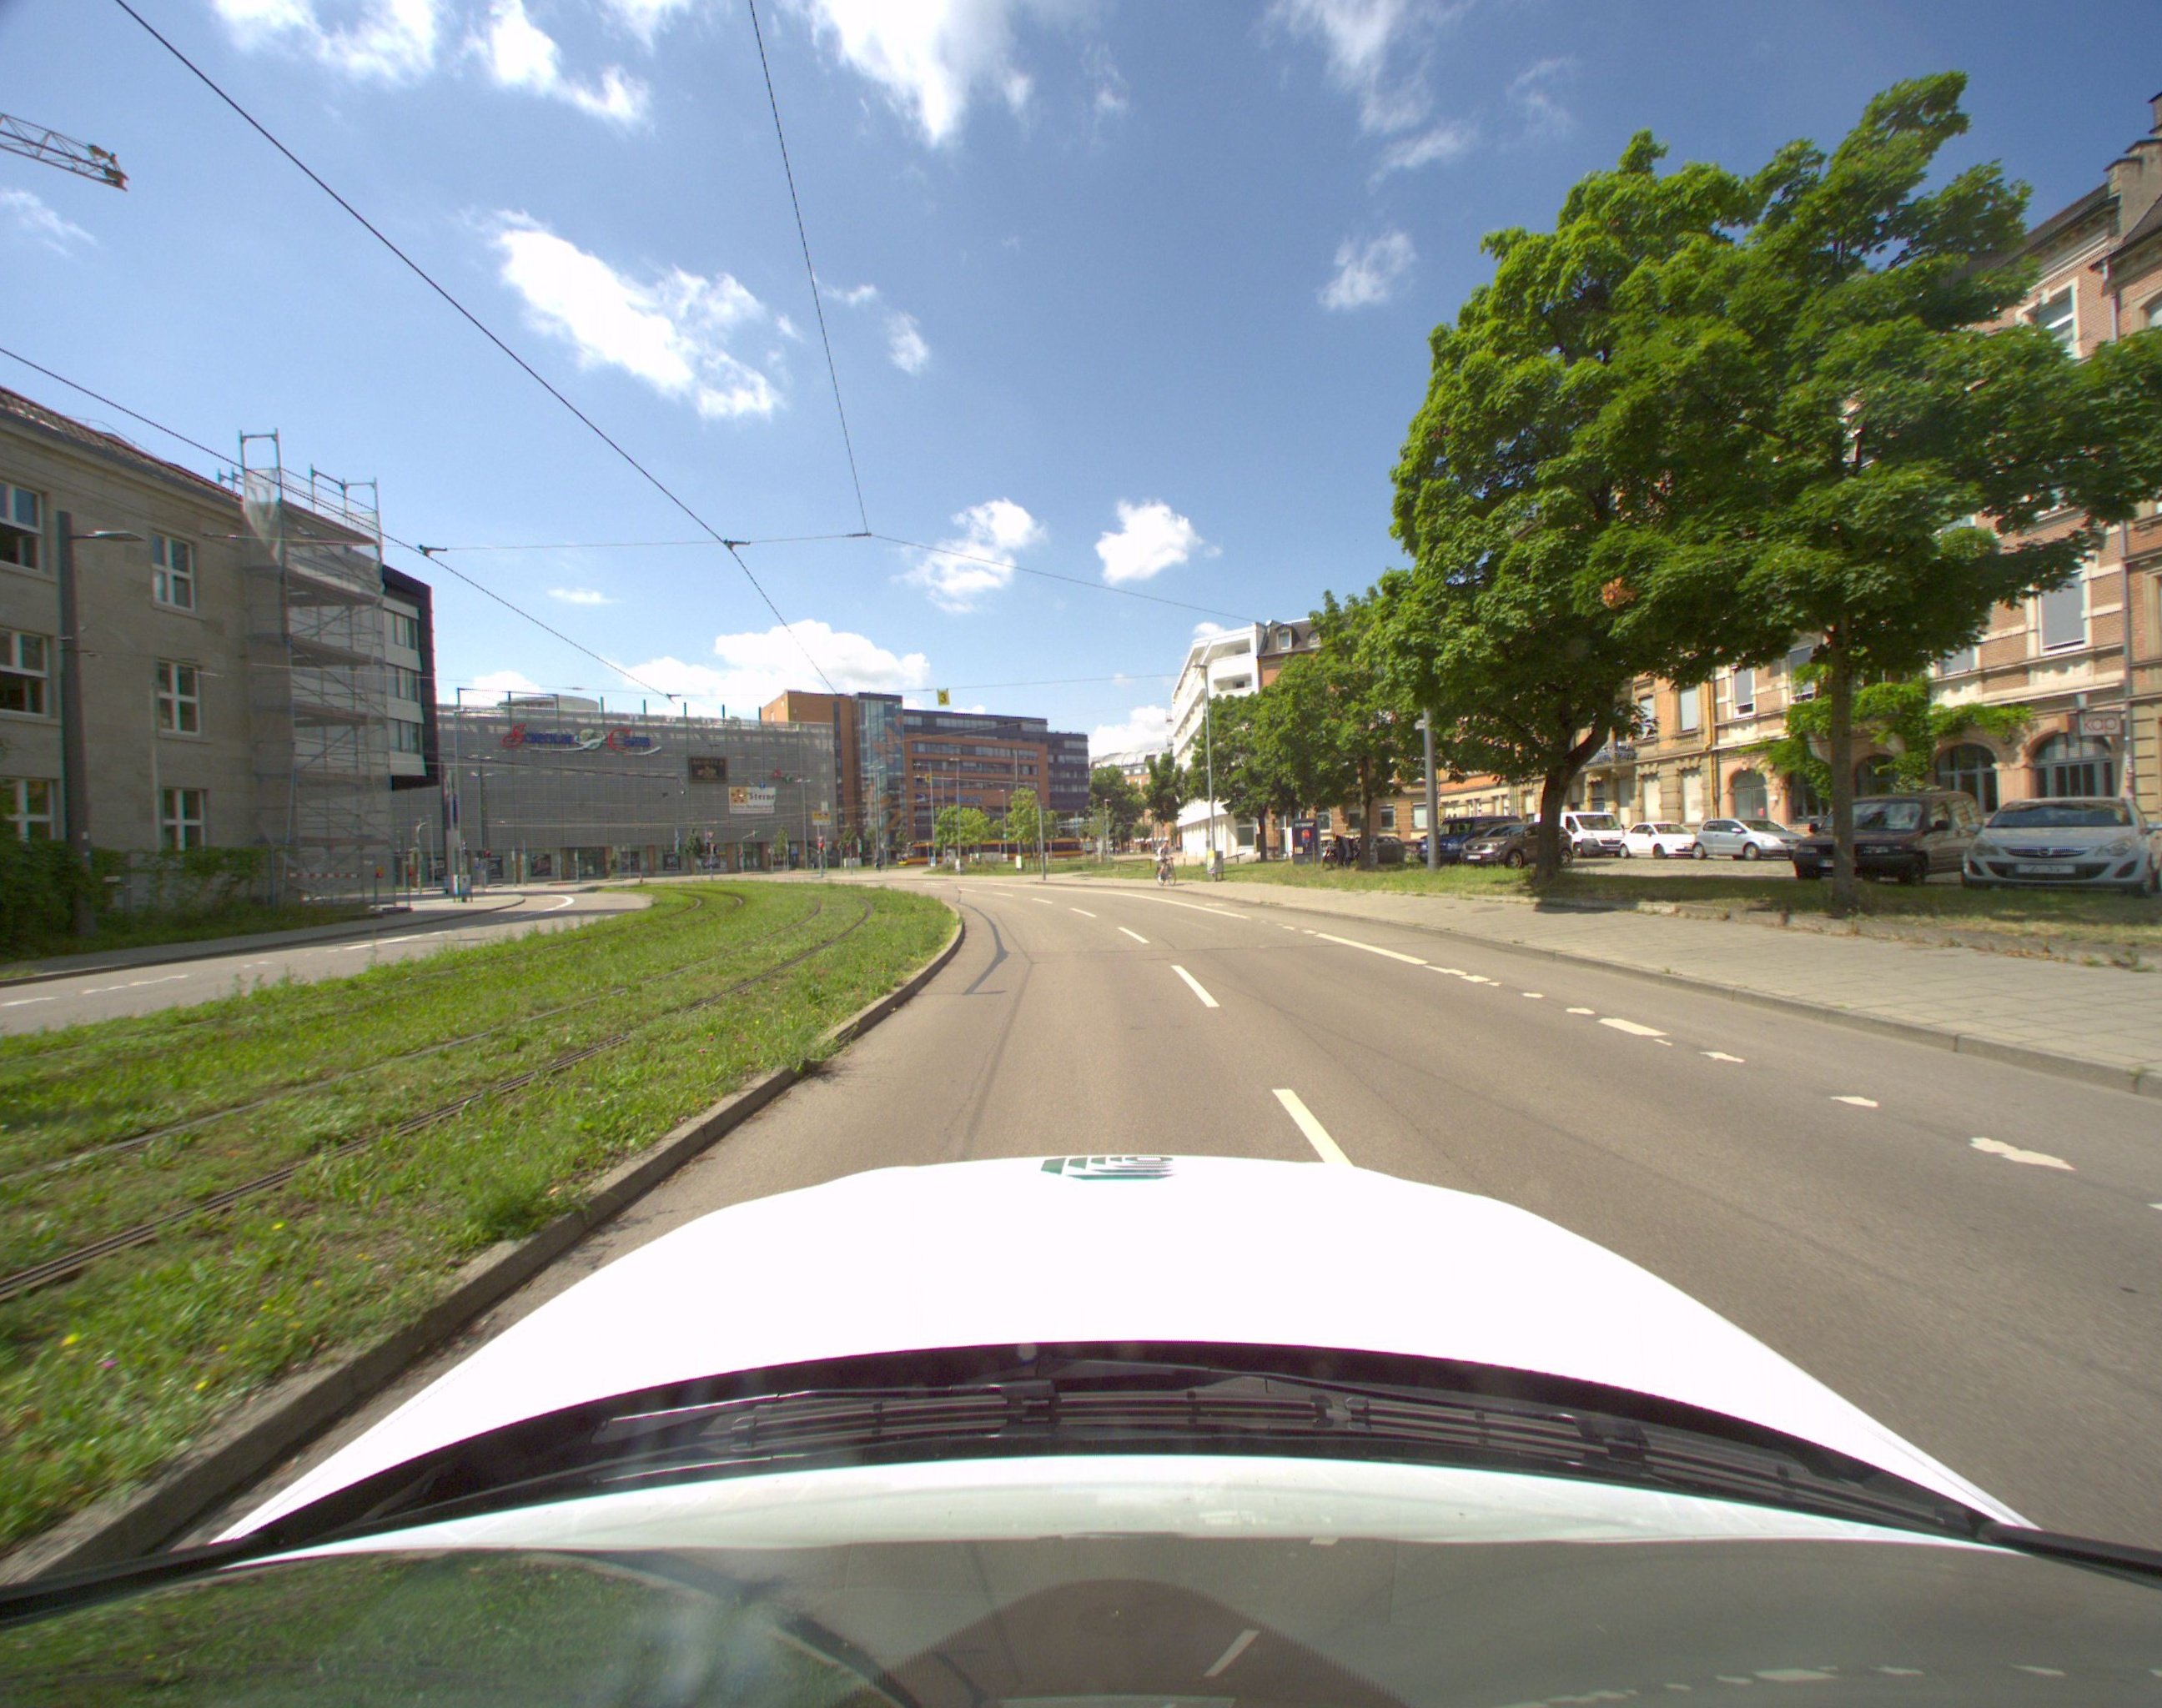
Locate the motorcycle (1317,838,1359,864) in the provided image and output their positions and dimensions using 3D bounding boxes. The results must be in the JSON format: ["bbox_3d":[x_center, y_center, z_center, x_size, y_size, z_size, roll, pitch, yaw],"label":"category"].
[{"bbox_3d":[12.469,-0.155,39.559,1.777,1.167,0.640,-3,0,-1],"label":"motorcycle"}]

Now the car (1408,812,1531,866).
[{"bbox_3d":[14.839,-0.590,31.037,4.643,1.927,1.898,-2,0,-30],"label":"car"}]

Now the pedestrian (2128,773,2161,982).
[{"bbox_3d":[8.548,0.168,5.905,0.698,1.592,0.905,-2,0,0],"label":"pedestrian"}]

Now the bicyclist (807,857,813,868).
[{"bbox_3d":[-42.259,1.303,126.959,0.667,1.623,0.545,-1,0,-35],"label":"bicyclist"}]

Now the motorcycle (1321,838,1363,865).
[{"bbox_3d":[12.449,-0.117,38.826,1.777,1.167,0.640,-3,0,-1],"label":"motorcycle"}]

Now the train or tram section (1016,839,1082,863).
[{"bbox_3d":[-5.173,-0.567,135.644,3.026,3.621,12.715,-2,0,41],"label":"train or tram section"}]

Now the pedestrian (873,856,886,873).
[{"bbox_3d":[-20.683,1.075,83.547,0.907,1.702,0.813,-3,1,26],"label":"pedestrian"}]

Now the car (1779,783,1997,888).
[{"bbox_3d":[15.235,-0.353,15.343,4.162,1.741,1.835,-2,0,-29],"label":"car"}]

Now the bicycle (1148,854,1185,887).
[{"bbox_3d":[3.369,0.636,32.306,0.695,1.242,1.828,-5,1,-17],"label":"bicycle"}]

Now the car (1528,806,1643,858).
[{"bbox_3d":[23.218,-0.960,37.813,2.103,2.178,5.396,-2,0,2],"label":"car"}]

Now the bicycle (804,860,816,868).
[{"bbox_3d":[-42.242,1.523,126.963,1.774,1.224,0.578,-2,0,-35],"label":"bicycle"}]

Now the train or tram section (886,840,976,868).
[{"bbox_3d":[-21.437,-0.070,117.752,3.186,3.599,13.583,-2,0,43],"label":"train or tram section"}]

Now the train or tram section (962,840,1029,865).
[{"bbox_3d":[-13.160,-0.345,126.799,3.026,3.603,11.060,-2,0,43],"label":"train or tram section"}]

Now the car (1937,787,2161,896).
[{"bbox_3d":[14.811,-0.194,12.357,4.101,1.405,1.833,-2,0,-34],"label":"car"}]

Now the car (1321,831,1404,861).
[{"bbox_3d":[15.061,-0.433,43.542,4.271,1.427,1.789,-3,0,-28],"label":"car"}]

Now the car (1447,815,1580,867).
[{"bbox_3d":[14.892,-0.452,28.046,4.182,1.656,1.900,-2,0,-26],"label":"car"}]

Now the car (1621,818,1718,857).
[{"bbox_3d":[23.396,-0.627,32.521,1.557,1.403,3.354,-3,0,4],"label":"car"}]

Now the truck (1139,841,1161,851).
[{"bbox_3d":[16.328,-1.907,192.892,2.010,2.085,5.459,-2,0,-39],"label":"truck"}]

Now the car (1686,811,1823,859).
[{"bbox_3d":[23.265,-0.623,28.333,1.653,1.491,3.855,-2,0,2],"label":"car"}]

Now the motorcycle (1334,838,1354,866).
[{"bbox_3d":[11.633,-0.100,36.082,0.633,1.167,1.914,-3,0,14],"label":"motorcycle"}]

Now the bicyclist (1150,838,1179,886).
[{"bbox_3d":[3.326,0.328,32.375,0.696,1.824,0.951,-5,1,-17],"label":"bicyclist"}]
